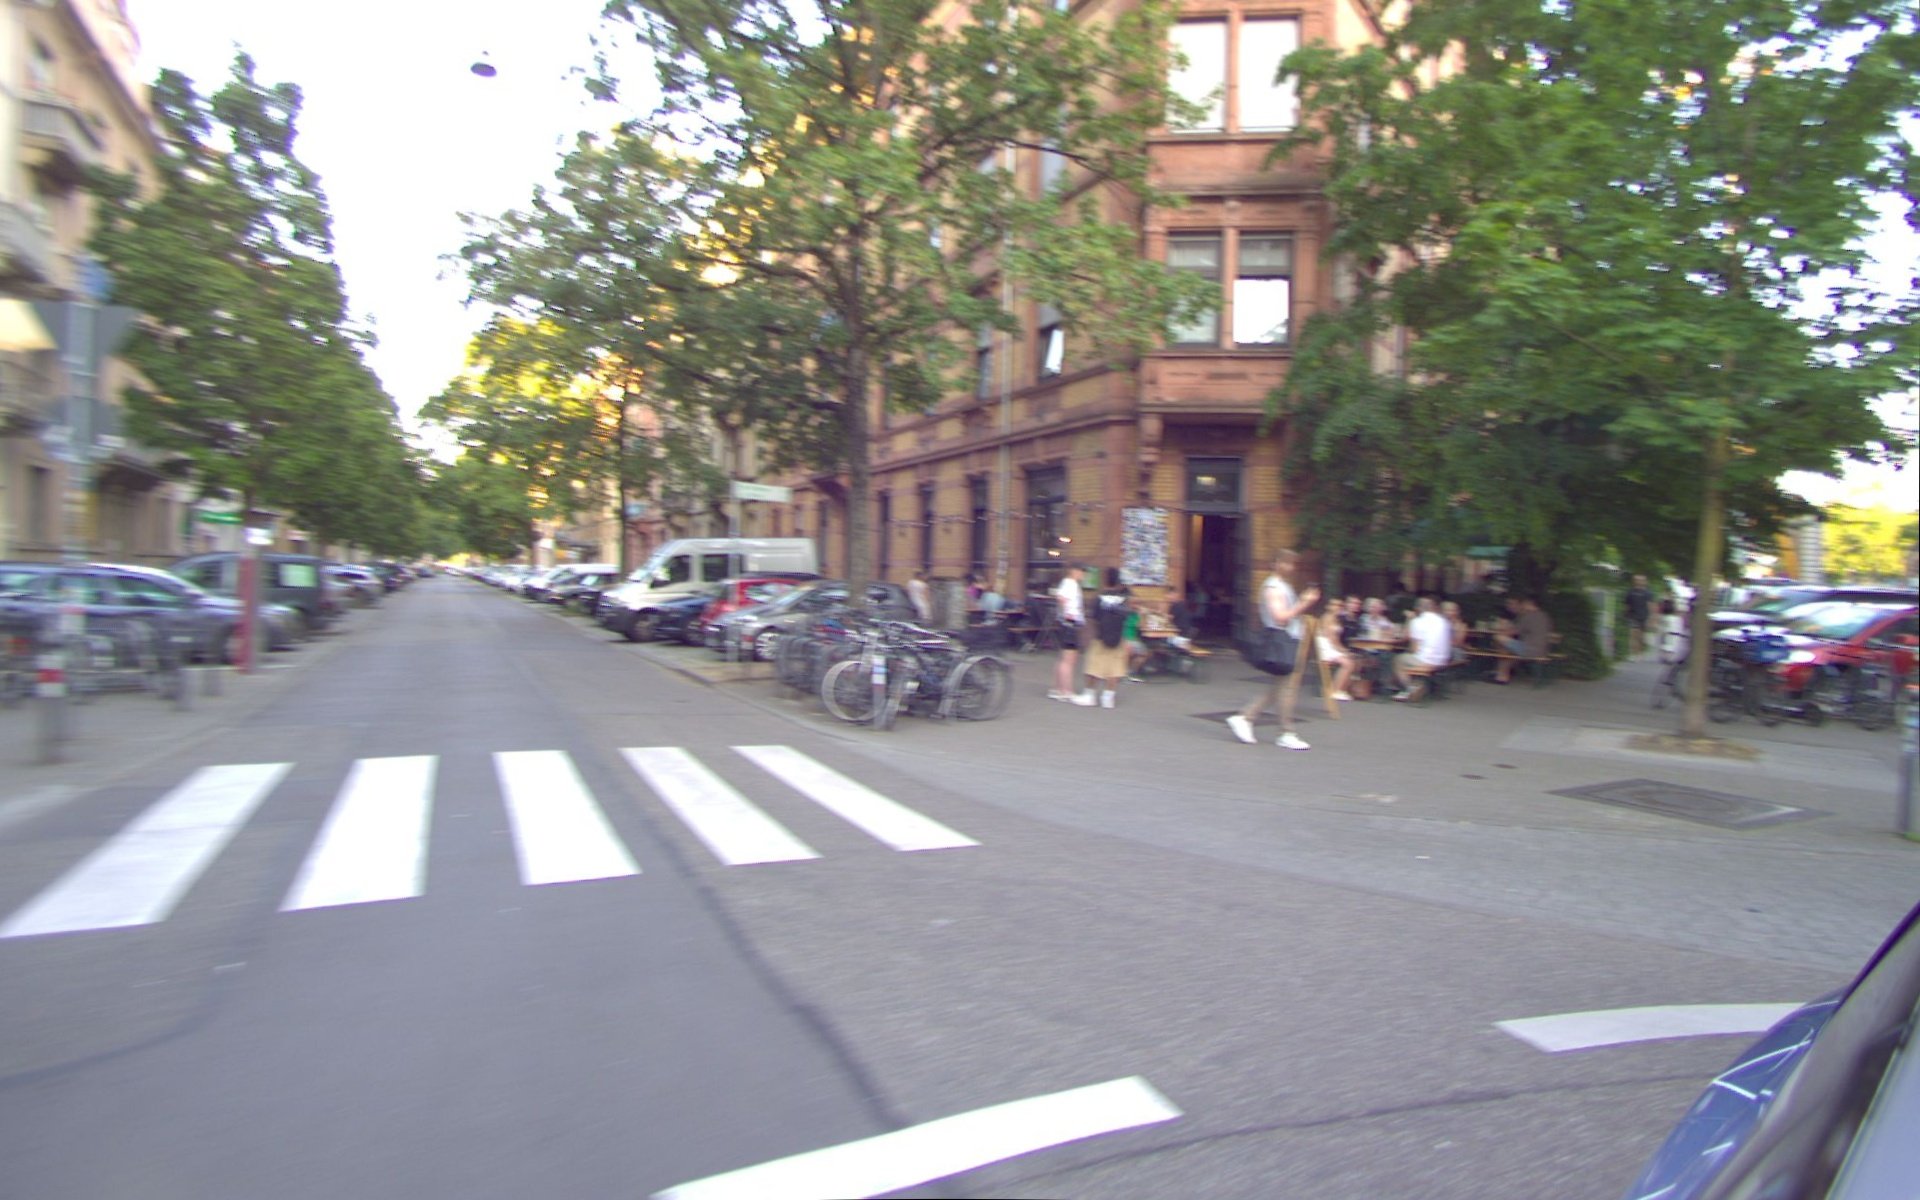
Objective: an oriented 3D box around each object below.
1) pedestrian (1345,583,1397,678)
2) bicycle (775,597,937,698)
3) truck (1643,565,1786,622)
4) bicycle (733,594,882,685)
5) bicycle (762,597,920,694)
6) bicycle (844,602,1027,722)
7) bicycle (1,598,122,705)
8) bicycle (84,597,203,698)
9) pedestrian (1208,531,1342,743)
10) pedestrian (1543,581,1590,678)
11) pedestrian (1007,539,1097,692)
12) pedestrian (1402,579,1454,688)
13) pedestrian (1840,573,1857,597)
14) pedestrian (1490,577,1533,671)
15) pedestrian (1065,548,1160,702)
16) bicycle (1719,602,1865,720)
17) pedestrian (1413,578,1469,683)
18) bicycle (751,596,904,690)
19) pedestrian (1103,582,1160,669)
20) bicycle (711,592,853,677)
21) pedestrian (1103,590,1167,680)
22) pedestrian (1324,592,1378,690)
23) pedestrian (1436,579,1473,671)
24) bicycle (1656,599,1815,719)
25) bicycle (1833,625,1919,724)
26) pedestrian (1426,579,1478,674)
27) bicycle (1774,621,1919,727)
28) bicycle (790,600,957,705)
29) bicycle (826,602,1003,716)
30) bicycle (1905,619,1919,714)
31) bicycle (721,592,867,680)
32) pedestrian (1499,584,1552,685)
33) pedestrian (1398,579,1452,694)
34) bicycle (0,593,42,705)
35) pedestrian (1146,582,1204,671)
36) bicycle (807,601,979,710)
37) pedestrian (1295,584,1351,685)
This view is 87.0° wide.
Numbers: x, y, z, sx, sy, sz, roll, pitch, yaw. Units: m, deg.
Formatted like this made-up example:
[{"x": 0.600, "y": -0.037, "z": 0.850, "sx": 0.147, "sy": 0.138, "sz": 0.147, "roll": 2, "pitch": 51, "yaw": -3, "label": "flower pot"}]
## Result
[{"x": 5.768, "y": 0.409, "z": 14.209, "sx": 0.543, "sy": 1.285, "sz": 0.566, "roll": 0, "pitch": 1, "yaw": 39, "label": "pedestrian"}, {"x": -1.255, "y": 0.552, "z": 12.454, "sx": 1.995, "sy": 1.148, "sz": 0.436, "roll": -1, "pitch": 1, "yaw": -31, "label": "bicycle"}, {"x": 43.596, "y": -0.408, "z": 58.596, "sx": 6.475, "sy": 3.115, "sz": 2.487, "roll": 1, "pitch": 1, "yaw": 41, "label": "truck"}, {"x": -2.049, "y": 0.506, "z": 13.749, "sx": 1.995, "sy": 1.148, "sz": 0.436, "roll": -1, "pitch": 1, "yaw": -31, "label": "bicycle"}, {"x": -1.487, "y": 0.545, "z": 12.878, "sx": 1.995, "sy": 1.148, "sz": 0.436, "roll": -1, "pitch": 1, "yaw": -31, "label": "bicycle"}, {"x": -0.231, "y": 0.619, "z": 10.754, "sx": 1.995, "sy": 1.148, "sz": 0.436, "roll": -1, "pitch": 1, "yaw": -31, "label": "bicycle"}, {"x": -9.567, "y": 0.507, "z": 10.748, "sx": 2.001, "sy": 1.039, "sz": 0.486, "roll": 0, "pitch": 1, "yaw": 34, "label": "bicycle"}, {"x": -9.173, "y": 0.492, "z": 11.342, "sx": 2.001, "sy": 1.039, "sz": 0.486, "roll": 0, "pitch": 1, "yaw": 34, "label": "bicycle"}, {"x": 2.892, "y": 0.313, "z": 9.347, "sx": 0.819, "sy": 1.851, "sz": 0.870, "roll": 0, "pitch": 1, "yaw": -19, "label": "pedestrian"}, {"x": 9.135, "y": 0.432, "z": 15.251, "sx": 0.549, "sy": 1.427, "sz": 0.510, "roll": 0, "pitch": 0, "yaw": 25, "label": "pedestrian"}, {"x": 1.171, "y": 0.178, "z": 12.781, "sx": 0.830, "sy": 1.851, "sz": 0.858, "roll": 0, "pitch": 1, "yaw": 32, "label": "pedestrian"}, {"x": 6.149, "y": 0.422, "z": 13.300, "sx": 0.543, "sy": 1.397, "sz": 0.461, "roll": 0, "pitch": 1, "yaw": 36, "label": "pedestrian"}, {"x": 102.690, "y": -1.719, "z": 116.989, "sx": 1.438, "sy": 2.775, "sz": 0.999, "roll": 0, "pitch": 1, "yaw": 37, "label": "pedestrian"}, {"x": 8.545, "y": 0.359, "z": 15.684, "sx": 0.549, "sy": 1.427, "sz": 0.510, "roll": 0, "pitch": 0, "yaw": 25, "label": "pedestrian"}, {"x": 1.794, "y": 0.273, "z": 12.020, "sx": 0.850, "sy": 1.745, "sz": 0.839, "roll": 0, "pitch": 1, "yaw": -15, "label": "pedestrian"}, {"x": 10.097, "y": 0.689, "z": 12.363, "sx": 0.589, "sy": 1.304, "sz": 1.764, "roll": 0, "pitch": 1, "yaw": 11, "label": "bicycle"}, {"x": 6.588, "y": 0.401, "z": 13.851, "sx": 0.545, "sy": 1.397, "sz": 0.565, "roll": 0, "pitch": 1, "yaw": 45, "label": "pedestrian"}, {"x": -1.717, "y": 0.535, "z": 13.302, "sx": 1.995, "sy": 1.148, "sz": 0.436, "roll": -1, "pitch": 1, "yaw": -31, "label": "bicycle"}, {"x": 2.762, "y": 0.395, "z": 16.295, "sx": 0.624, "sy": 1.362, "sz": 0.729, "roll": 0, "pitch": 1, "yaw": 41, "label": "pedestrian"}, {"x": -2.542, "y": 0.472, "z": 14.601, "sx": 1.995, "sy": 1.148, "sz": 0.436, "roll": -1, "pitch": 1, "yaw": -31, "label": "bicycle"}, {"x": 2.540, "y": 0.483, "z": 14.662, "sx": 0.624, "sy": 1.247, "sz": 0.729, "roll": 0, "pitch": 1, "yaw": 41, "label": "pedestrian"}, {"x": 5.307, "y": 0.539, "z": 13.733, "sx": 0.543, "sy": 1.285, "sz": 0.566, "roll": 0, "pitch": 1, "yaw": 39, "label": "pedestrian"}, {"x": 7.835, "y": 0.385, "z": 16.037, "sx": 0.509, "sy": 1.427, "sz": 0.614, "roll": 0, "pitch": 1, "yaw": 25, "label": "pedestrian"}, {"x": 9.286, "y": 0.659, "z": 12.211, "sx": 0.587, "sy": 1.304, "sz": 1.722, "roll": 1, "pitch": 1, "yaw": 1, "label": "bicycle"}, {"x": 11.472, "y": 0.885, "z": 12.222, "sx": 0.589, "sy": 1.077, "sz": 1.764, "roll": 0, "pitch": 1, "yaw": 11, "label": "bicycle"}, {"x": 7.478, "y": 0.390, "z": 15.401, "sx": 0.505, "sy": 1.427, "sz": 0.619, "roll": 0, "pitch": 0, "yaw": 5, "label": "pedestrian"}, {"x": 10.858, "y": 0.864, "z": 12.356, "sx": 0.589, "sy": 1.076, "sz": 1.764, "roll": 4, "pitch": 2, "yaw": 11, "label": "bicycle"}, {"x": -1.007, "y": 0.591, "z": 12.056, "sx": 1.995, "sy": 1.148, "sz": 0.436, "roll": -1, "pitch": 1, "yaw": -31, "label": "bicycle"}, {"x": -0.474, "y": 0.612, "z": 11.202, "sx": 1.995, "sy": 1.148, "sz": 0.436, "roll": -1, "pitch": 1, "yaw": -31, "label": "bicycle"}, {"x": 12.847, "y": 0.876, "z": 12.573, "sx": 1.535, "sy": 1.175, "sz": 0.362, "roll": 3, "pitch": 2, "yaw": 24, "label": "bicycle"}, {"x": -2.306, "y": 0.470, "z": 14.186, "sx": 1.995, "sy": 1.148, "sz": 0.436, "roll": -1, "pitch": 1, "yaw": -31, "label": "bicycle"}, {"x": 8.185, "y": 0.486, "z": 14.656, "sx": 0.633, "sy": 1.427, "sz": 0.510, "roll": 0, "pitch": 0, "yaw": 26, "label": "pedestrian"}, {"x": 5.826, "y": 0.435, "z": 12.672, "sx": 0.543, "sy": 1.397, "sz": 0.461, "roll": 0, "pitch": 1, "yaw": 36, "label": "pedestrian"}, {"x": -9.752, "y": 0.455, "z": 10.115, "sx": 2.004, "sy": 1.039, "sz": 0.485, "roll": 0, "pitch": 1, "yaw": 37, "label": "bicycle"}, {"x": 3.402, "y": 0.397, "z": 15.986, "sx": 0.624, "sy": 1.362, "sz": 0.729, "roll": 0, "pitch": 1, "yaw": 41, "label": "pedestrian"}, {"x": -0.747, "y": 0.597, "z": 11.639, "sx": 1.995, "sy": 1.148, "sz": 0.436, "roll": -1, "pitch": 1, "yaw": -31, "label": "bicycle"}, {"x": 4.783, "y": 0.430, "z": 13.313, "sx": 0.543, "sy": 1.285, "sz": 0.566, "roll": 0, "pitch": 1, "yaw": 39, "label": "pedestrian"}]
